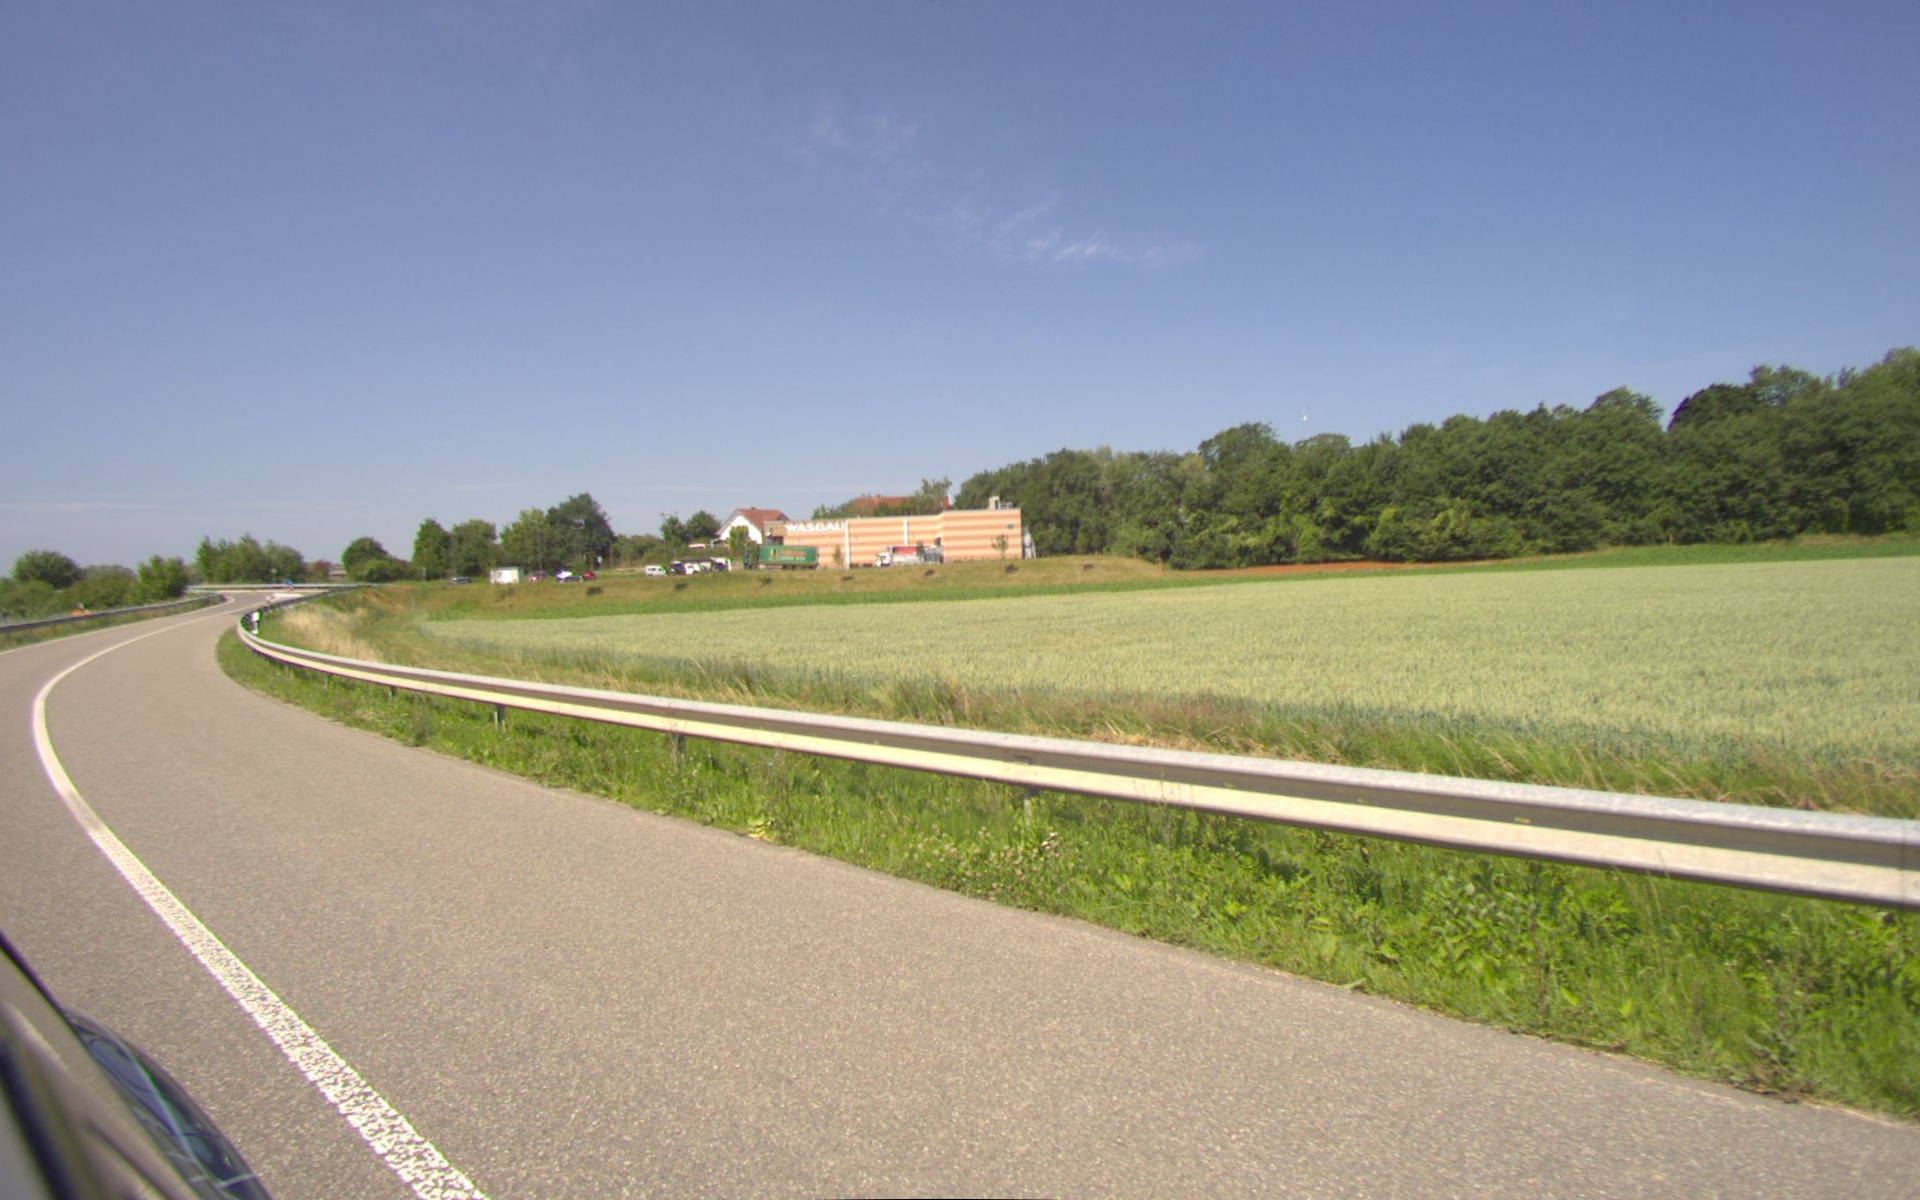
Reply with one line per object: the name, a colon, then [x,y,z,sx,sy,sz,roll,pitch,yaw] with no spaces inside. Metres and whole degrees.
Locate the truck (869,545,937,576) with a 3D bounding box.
truck: [-7.608,-5.265,134.863,8.747,3.589,2.883,-3,4,-5]

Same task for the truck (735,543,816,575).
truck: [-23.584,-5.263,129.857,9.798,3.502,2.881,-3,4,-2]

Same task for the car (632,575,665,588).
car: [-46.139,-2.754,149.955,4.265,1.609,2.004,-3,4,-8]

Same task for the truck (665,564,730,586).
truck: [-45.854,-4.438,176.957,10.537,3.214,2.456,-4,4,-21]

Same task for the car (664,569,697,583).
car: [-39.298,-3.419,142.384,4.266,1.716,2.004,-3,4,-7]
